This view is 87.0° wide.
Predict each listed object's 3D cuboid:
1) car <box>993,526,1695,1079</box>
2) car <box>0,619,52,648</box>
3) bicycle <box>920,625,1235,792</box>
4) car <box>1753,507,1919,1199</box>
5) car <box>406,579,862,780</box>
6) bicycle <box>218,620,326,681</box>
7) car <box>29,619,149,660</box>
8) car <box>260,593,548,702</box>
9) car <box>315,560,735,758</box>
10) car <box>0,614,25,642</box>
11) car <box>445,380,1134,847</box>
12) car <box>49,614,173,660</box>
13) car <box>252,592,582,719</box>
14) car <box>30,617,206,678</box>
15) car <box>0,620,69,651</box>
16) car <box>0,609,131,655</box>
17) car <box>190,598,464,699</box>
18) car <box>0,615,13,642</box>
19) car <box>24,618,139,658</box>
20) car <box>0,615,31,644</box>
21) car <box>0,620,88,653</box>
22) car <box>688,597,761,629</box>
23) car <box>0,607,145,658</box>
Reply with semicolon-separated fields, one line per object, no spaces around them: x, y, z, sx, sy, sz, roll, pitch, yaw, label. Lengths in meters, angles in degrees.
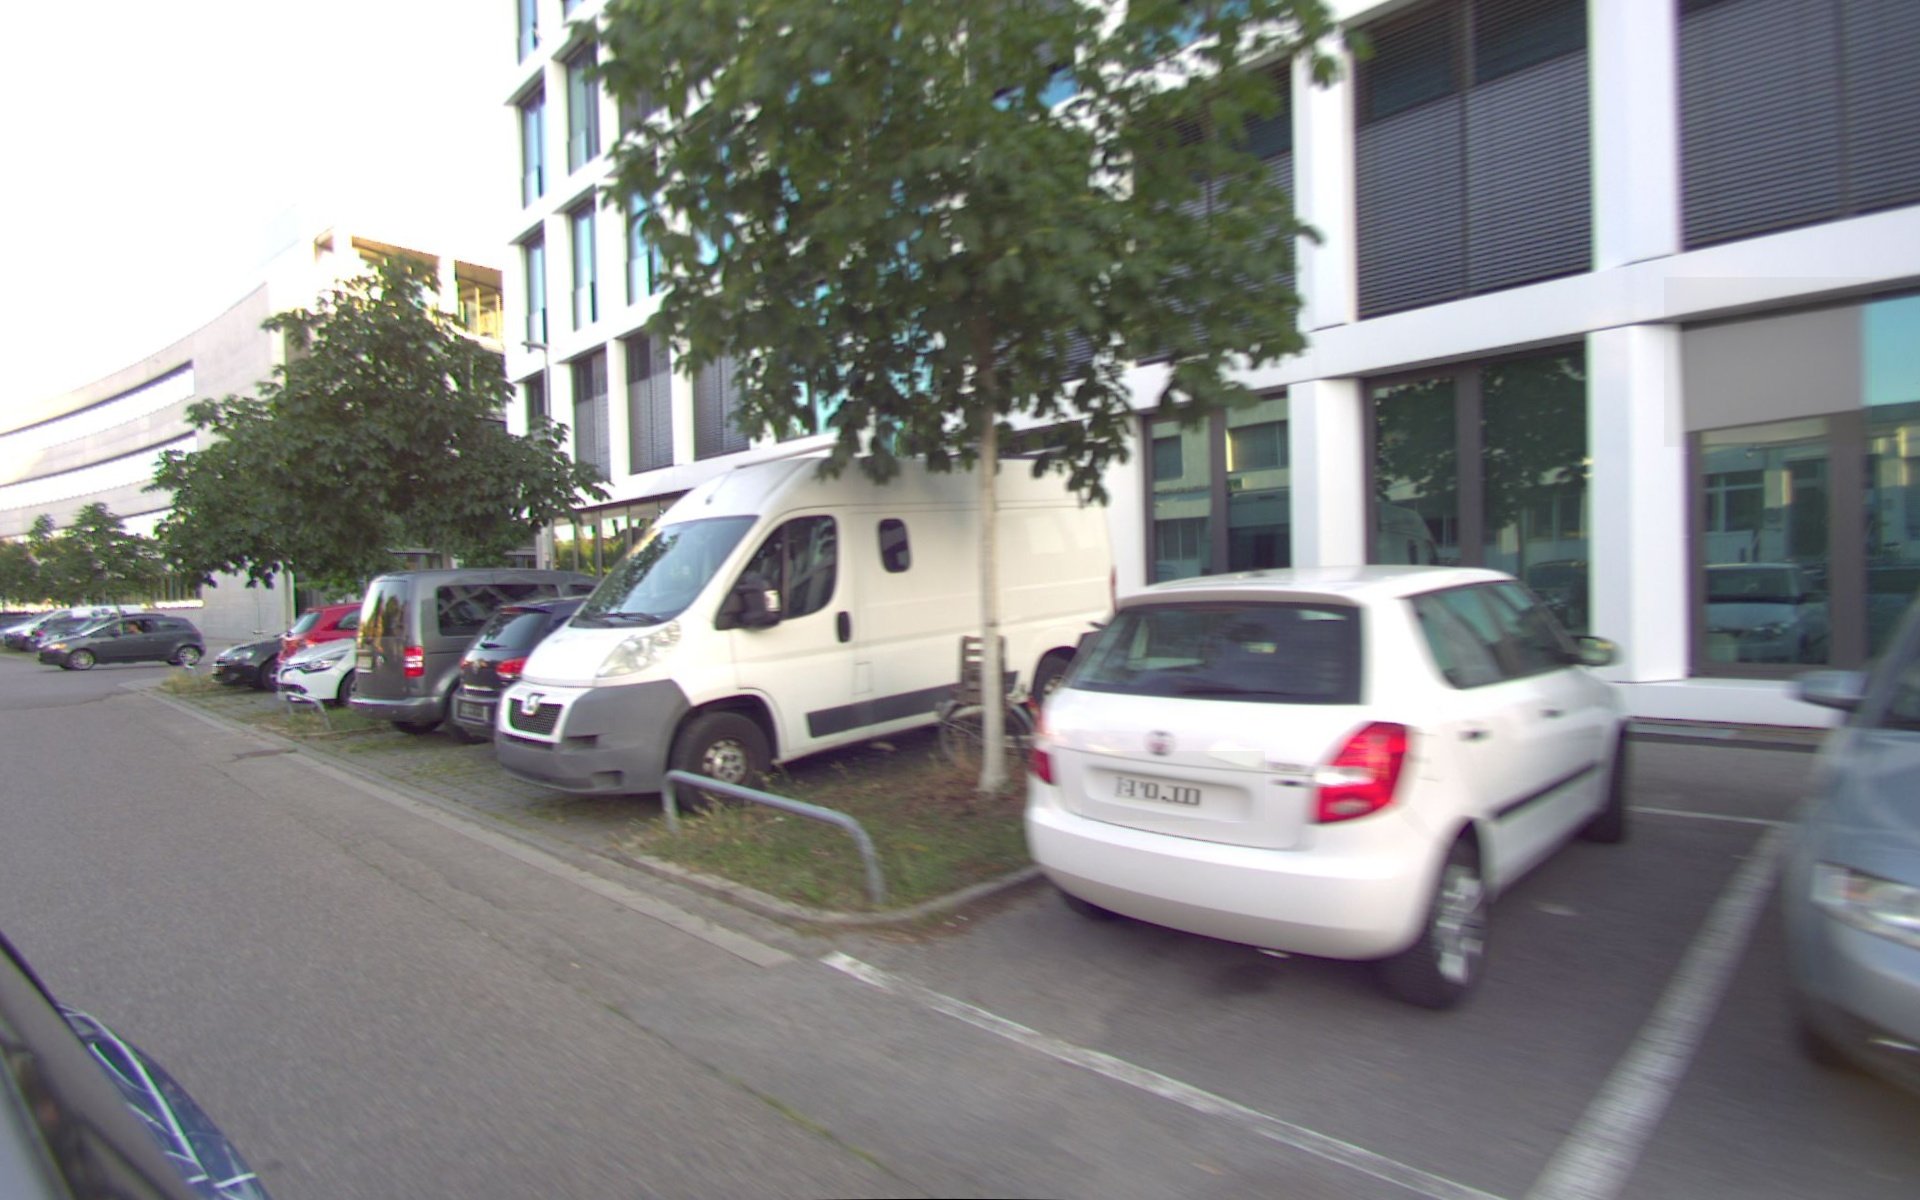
2.032;0.487;4.676;1.708;1.506;3.667;-2;1;44;car
-50.619;1.801;53.365;1.797;1.370;3.767;-2;2;37;car
0.741;0.689;6.608;1.889;0.922;0.673;-3;0;6;bicycle
3.988;0.446;3.197;4.259;1.506;1.796;-4;1;-45;car
-3.102;0.633;10.321;1.773;1.510;4.067;-2;1;40;car
-13.901;0.997;20.476;0.567;1.073;1.677;-2;2;44;bicycle
-36.749;1.636;42.758;1.726;1.435;3.607;-1;2;43;car
-9.725;0.752;17.933;1.845;1.530;4.063;-2;1;43;car
-4.877;0.525;11.818;1.814;1.830;4.067;-2;1;40;car
-57.207;1.734;58.723;1.793;1.595;3.986;-2;2;32;car
-1.015;-0.022;8.372;2.079;2.652;5.320;-2;1;45;car
-34.482;1.471;41.160;1.726;1.559;3.607;-1;2;43;car
-8.190;0.742;15.521;1.781;1.530;4.063;-2;1;43;car
-24.562;1.333;29.609;1.648;1.506;3.688;-2;1;39;car
-48.526;1.830;52.045;1.797;1.370;3.767;-2;2;37;car
-44.176;1.521;49.658;1.886;1.840;5.022;-2;2;37;car
-11.978;0.845;19.343;1.844;1.530;4.065;-2;1;42;car
-59.085;1.828;59.947;1.793;1.595;3.986;-2;2;32;car
-38.547;1.621;44.457;1.725;1.435;3.608;-1;2;42;car
-55.103;1.761;56.822;1.793;1.595;3.986;-2;2;32;car
-46.206;1.824;50.468;1.797;1.370;3.767;-2;2;37;car
-12.364;0.652;53.015;3.852;1.517;1.629;1;2;37;car
-40.620;1.447;46.162;1.886;1.894;5.022;-2;2;37;car
